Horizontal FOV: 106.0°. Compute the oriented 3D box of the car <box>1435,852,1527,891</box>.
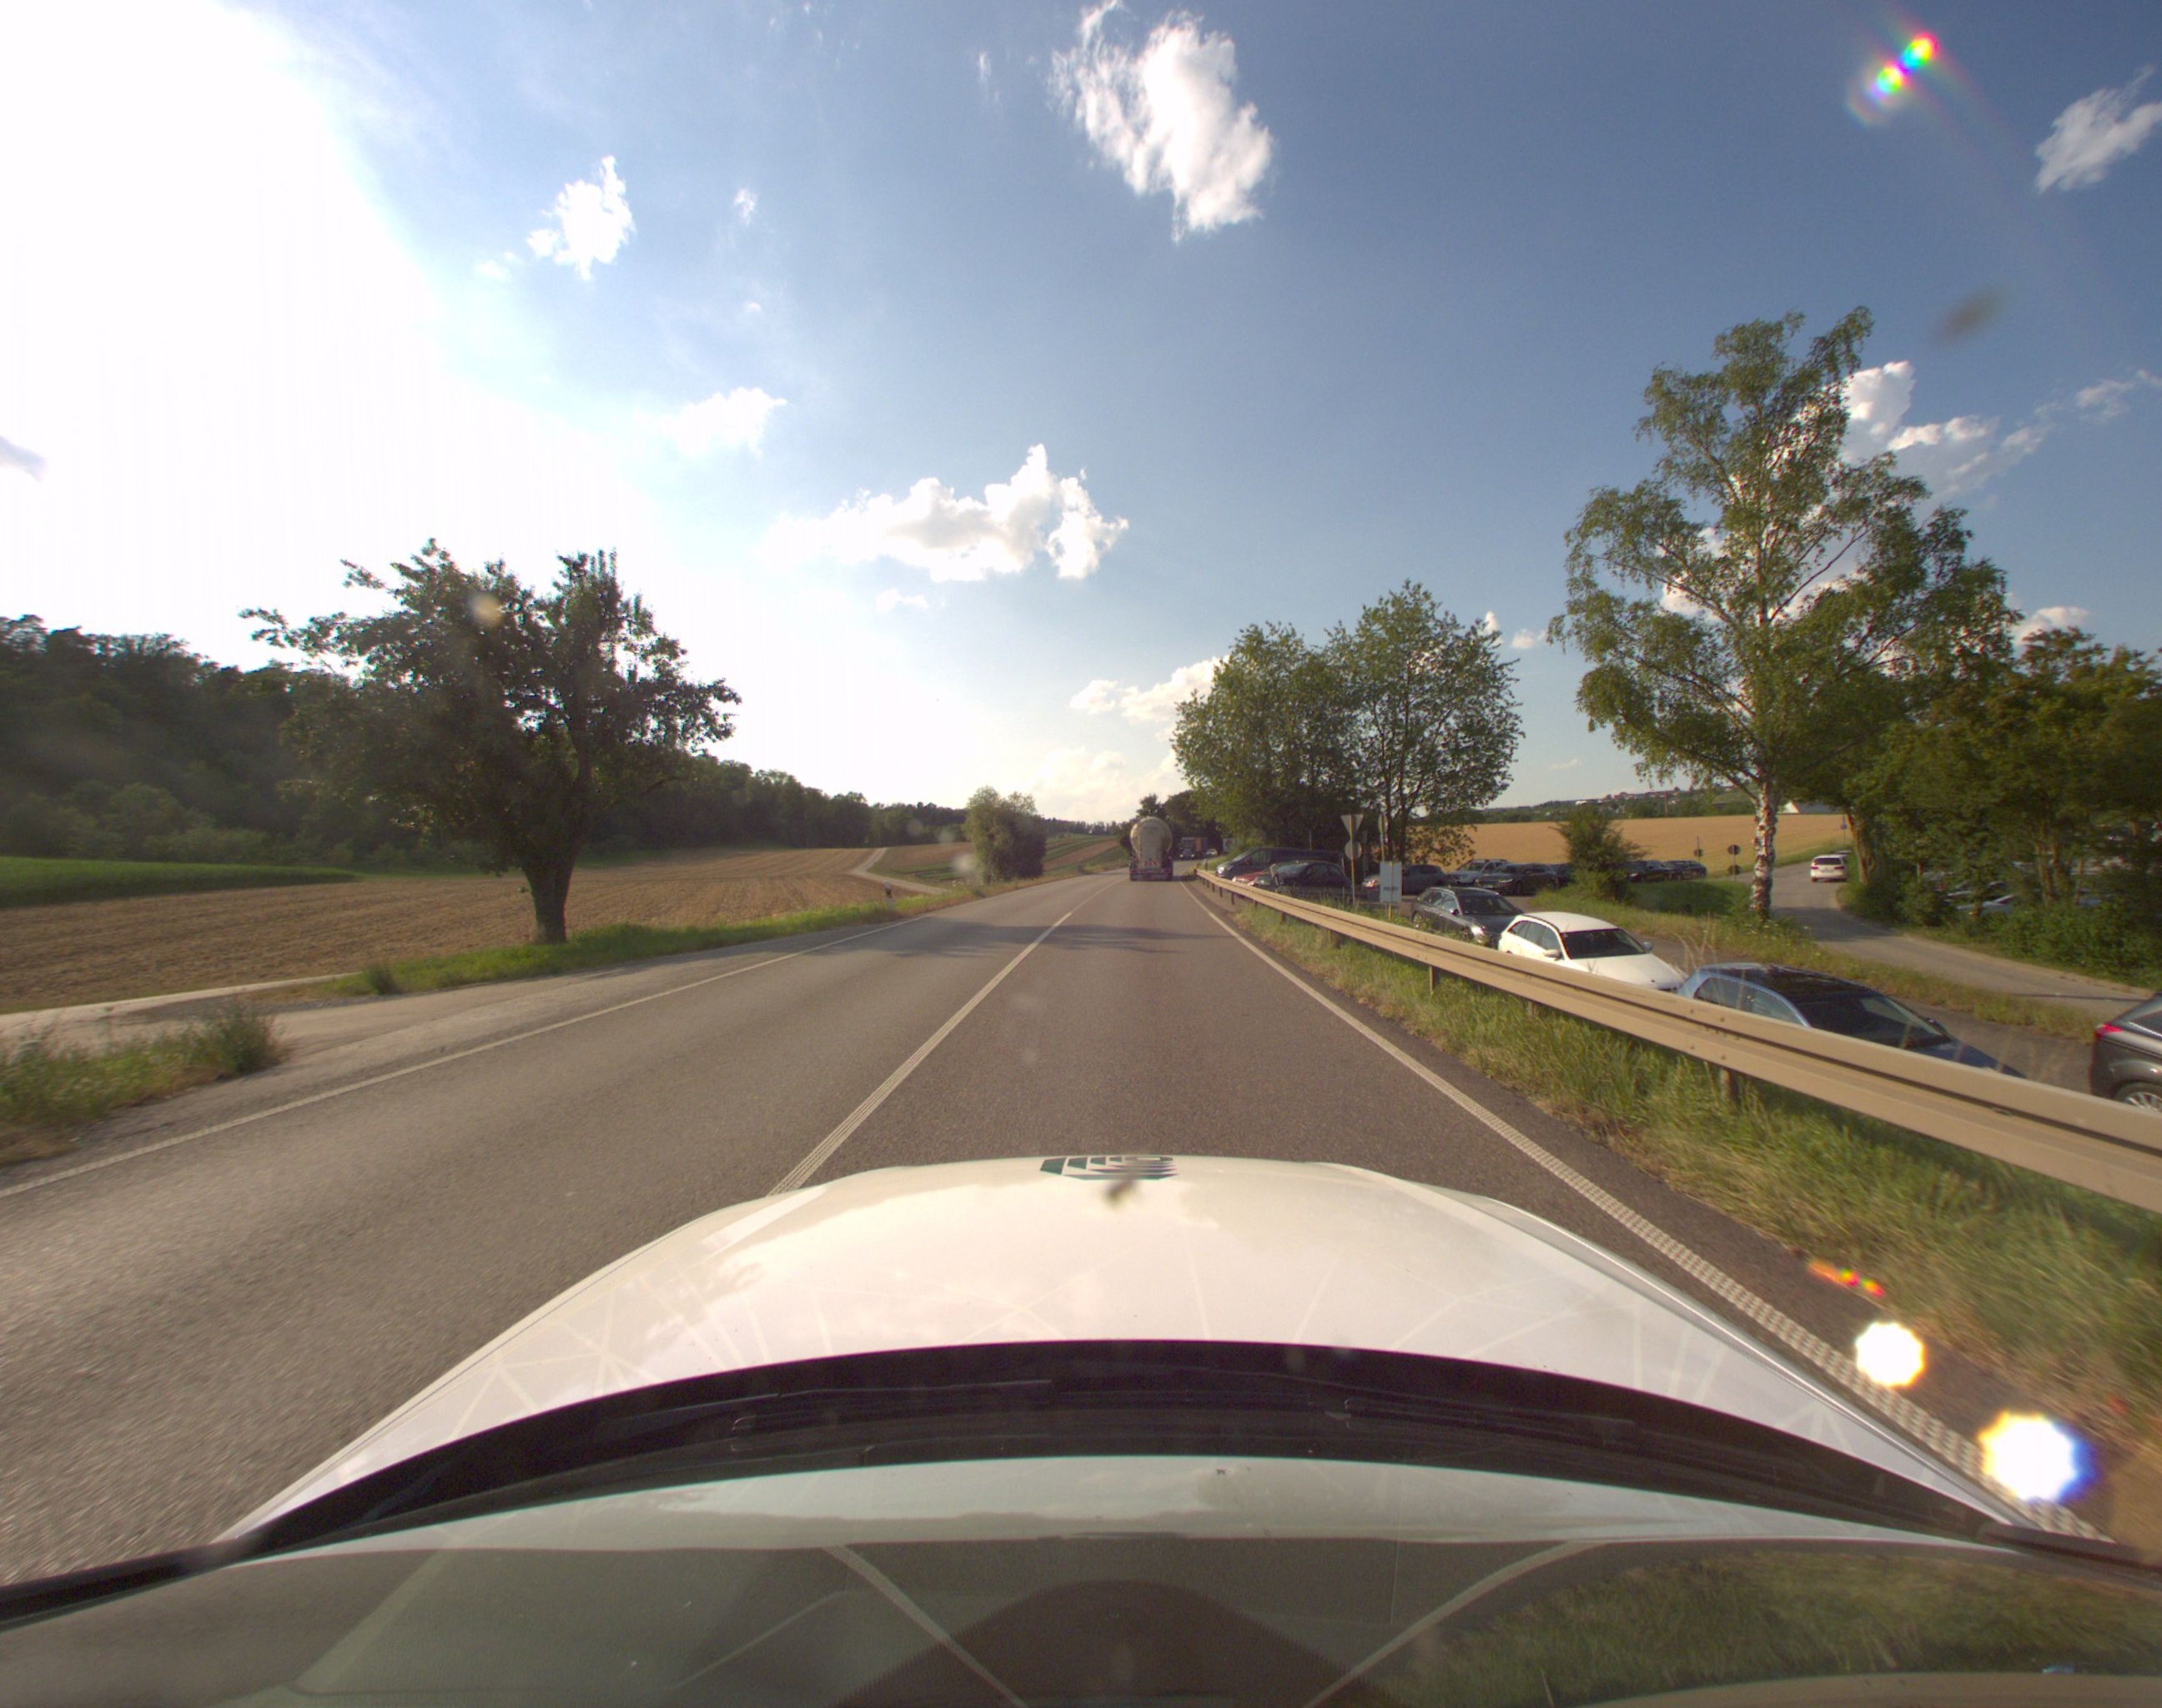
[{"bbox_3d":[19.906,0.825,40.487,4.224,1.747,1.797,-2,1,-24],"label":"car"}]

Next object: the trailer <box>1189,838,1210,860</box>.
[{"bbox_3d":[22.629,-1.029,155.034,2.346,3.920,9.002,-2,0,17],"label":"trailer"}]

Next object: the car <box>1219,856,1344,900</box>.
[{"bbox_3d":[7.448,0.885,30.224,4.331,1.399,1.707,3,1,-25],"label":"car"}]

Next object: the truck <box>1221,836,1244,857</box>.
[{"bbox_3d":[32.309,-1.682,173.217,3.158,4.227,13.233,-2,0,18],"label":"truck"}]

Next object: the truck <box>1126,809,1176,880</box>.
[{"bbox_3d":[4.672,-0.553,54.260,2.879,4.142,13.190,-1,0,5],"label":"truck"}]

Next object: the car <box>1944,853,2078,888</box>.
[{"bbox_3d":[48.632,0.843,42.755,1.814,1.691,4.540,-1,0,-44],"label":"car"}]

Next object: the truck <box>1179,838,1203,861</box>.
[{"bbox_3d":[19.802,-0.852,145.861,2.370,3.920,10.206,-2,0,17],"label":"truck"}]

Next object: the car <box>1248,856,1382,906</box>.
[{"bbox_3d":[7.903,0.917,27.402,4.335,1.509,1.705,3,0,-28],"label":"car"}]

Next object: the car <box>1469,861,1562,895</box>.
[{"bbox_3d":[19.735,1.056,36.924,4.608,1.441,1.792,1,0,-34],"label":"car"}]

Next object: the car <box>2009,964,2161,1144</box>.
[{"bbox_3d":[12.536,2.258,7.791,1.885,1.675,4.783,-2,0,1],"label":"car"}]

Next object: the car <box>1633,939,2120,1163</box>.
[{"bbox_3d":[9.906,2.306,10.874,1.885,1.559,4.785,-4,2,2],"label":"car"}]

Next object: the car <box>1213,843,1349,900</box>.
[{"bbox_3d":[8.277,0.713,34.019,5.121,1.943,1.976,4,0,1],"label":"car"}]

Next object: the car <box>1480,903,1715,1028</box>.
[{"bbox_3d":[9.948,2.039,16.234,1.883,1.559,4.790,-4,2,5],"label":"car"}]

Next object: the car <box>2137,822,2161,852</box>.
[{"bbox_3d":[87.353,-1.432,64.769,6.083,2.308,2.483,-2,-1,-22],"label":"car"}]

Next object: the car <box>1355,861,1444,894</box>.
[{"bbox_3d":[14.928,1.080,38.158,3.734,1.441,1.798,1,0,-23],"label":"car"}]

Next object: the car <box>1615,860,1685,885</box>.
[{"bbox_3d":[35.533,1.121,50.832,4.660,1.507,1.979,0,0,-33],"label":"car"}]

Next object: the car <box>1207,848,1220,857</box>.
[{"bbox_3d":[27.988,-0.284,172.466,1.959,1.651,4.383,-2,1,19],"label":"car"}]

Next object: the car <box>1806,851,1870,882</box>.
[{"bbox_3d":[47.948,0.763,51.544,4.663,1.616,1.979,-4,2,-34],"label":"car"}]

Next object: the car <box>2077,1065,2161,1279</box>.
[{"bbox_3d":[9.893,2.707,4.877,1.887,1.559,4.778,-4,2,-2],"label":"car"}]

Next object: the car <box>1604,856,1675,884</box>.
[{"bbox_3d":[29.906,0.846,43.589,3.947,1.441,1.793,1,0,-33],"label":"car"}]

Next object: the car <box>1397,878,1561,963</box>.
[{"bbox_3d":[10.219,1.621,21.380,1.886,1.559,4.783,-4,2,0],"label":"car"}]
